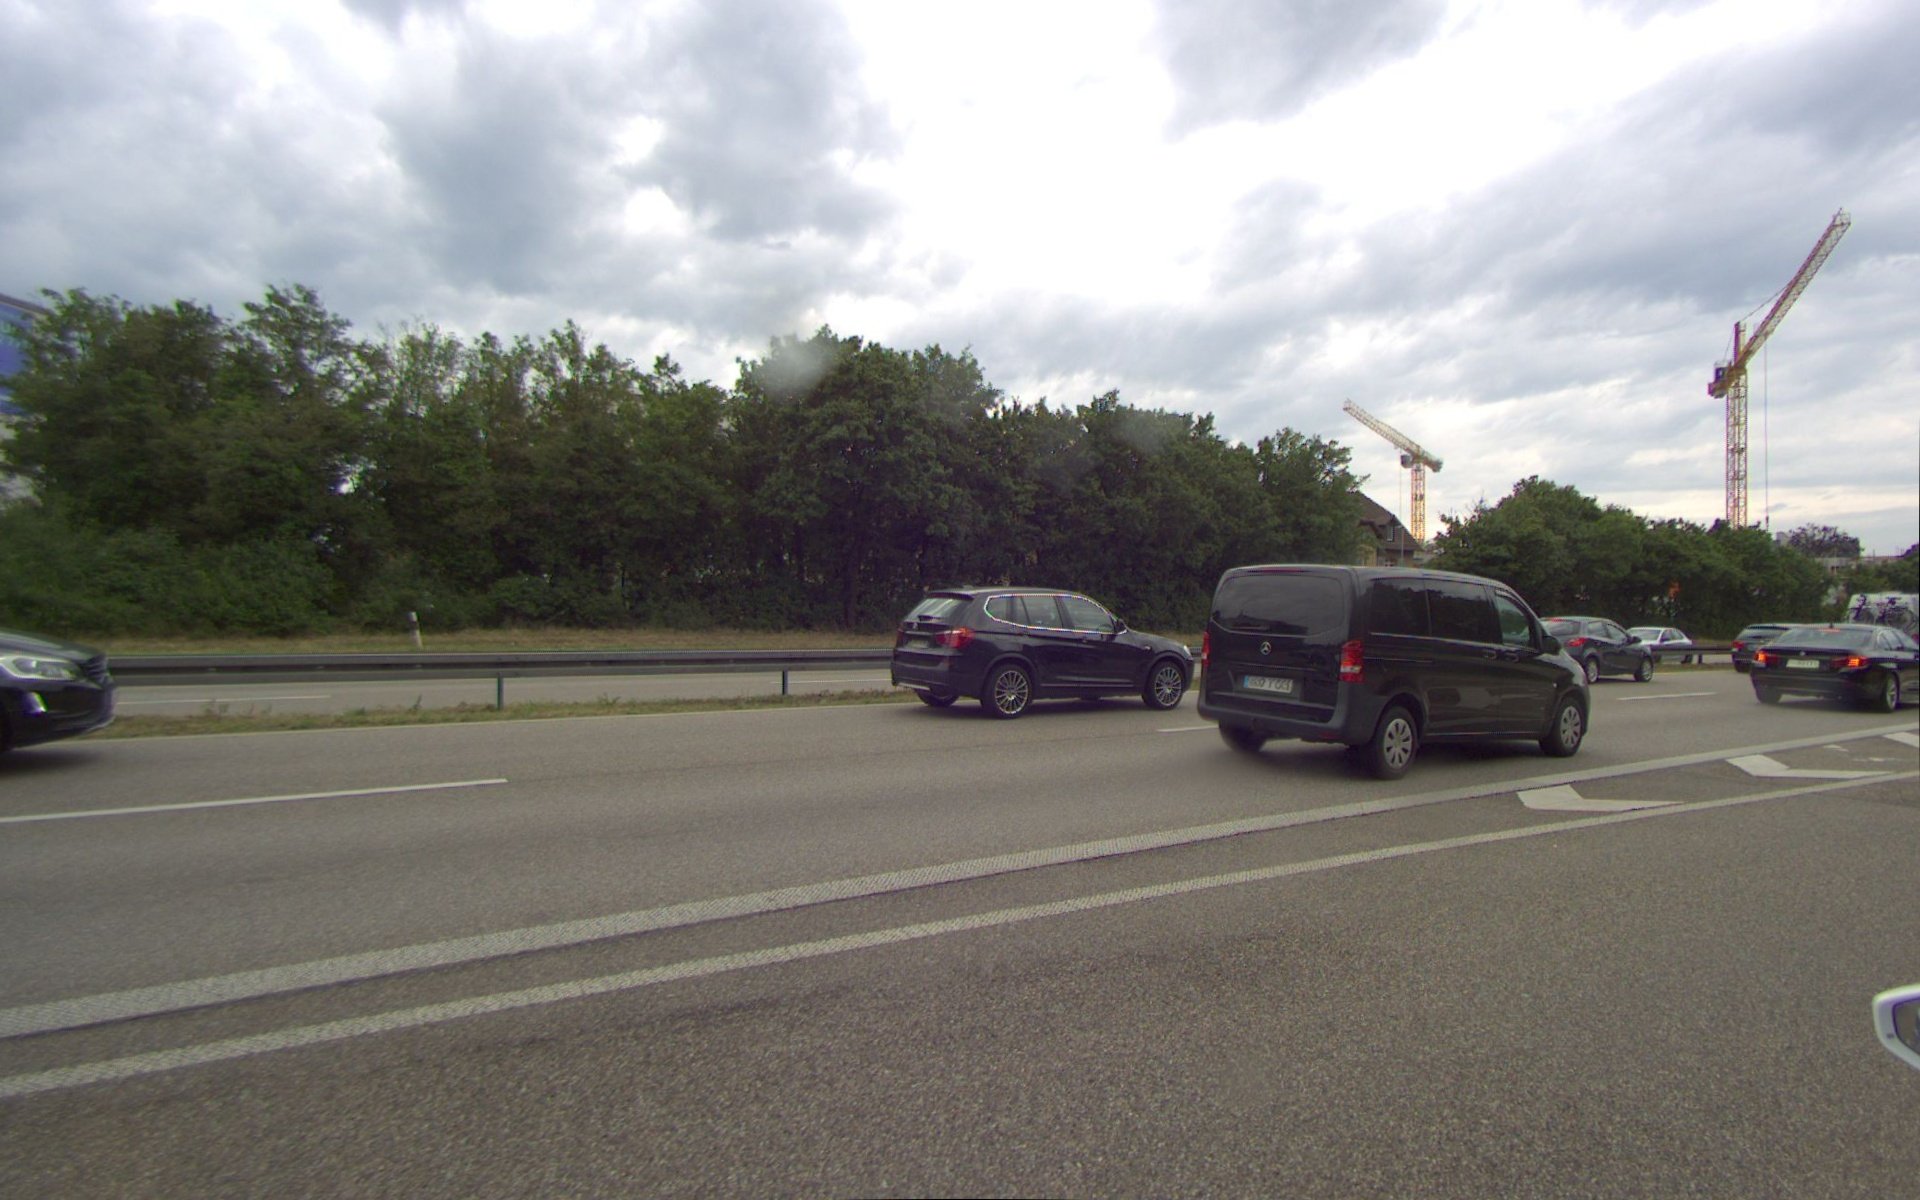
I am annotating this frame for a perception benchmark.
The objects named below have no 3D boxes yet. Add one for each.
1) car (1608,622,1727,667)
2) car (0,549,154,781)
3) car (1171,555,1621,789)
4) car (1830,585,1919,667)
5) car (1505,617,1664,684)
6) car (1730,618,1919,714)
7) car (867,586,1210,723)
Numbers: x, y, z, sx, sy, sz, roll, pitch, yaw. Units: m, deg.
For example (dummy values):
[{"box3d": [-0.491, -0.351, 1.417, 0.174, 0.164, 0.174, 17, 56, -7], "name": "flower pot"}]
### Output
[{"box3d": [27.337, 1.724, 38.792, 4.659, 1.572, 1.984, 2, 0, -30], "name": "car"}, {"box3d": [-8.745, 0.436, 7.057, 4.636, 1.677, 1.735, 1, -1, -35], "name": "car"}, {"box3d": [4.677, 0.645, 10.480, 4.934, 1.923, 1.975, 2, 0, -35], "name": "car"}, {"box3d": [31.644, 0.867, 33.835, 5.300, 2.587, 1.983, 1, -1, -31], "name": "car"}, {"box3d": [14.521, 1.126, 23.298, 3.959, 1.407, 1.664, 1, -1, -34], "name": "car"}, {"box3d": [16.172, 1.158, 18.350, 4.779, 1.479, 1.836, 2, 0, -33], "name": "car"}, {"box3d": [1.174, 0.698, 14.027, 4.601, 1.635, 1.850, 1, -1, -33], "name": "car"}]
